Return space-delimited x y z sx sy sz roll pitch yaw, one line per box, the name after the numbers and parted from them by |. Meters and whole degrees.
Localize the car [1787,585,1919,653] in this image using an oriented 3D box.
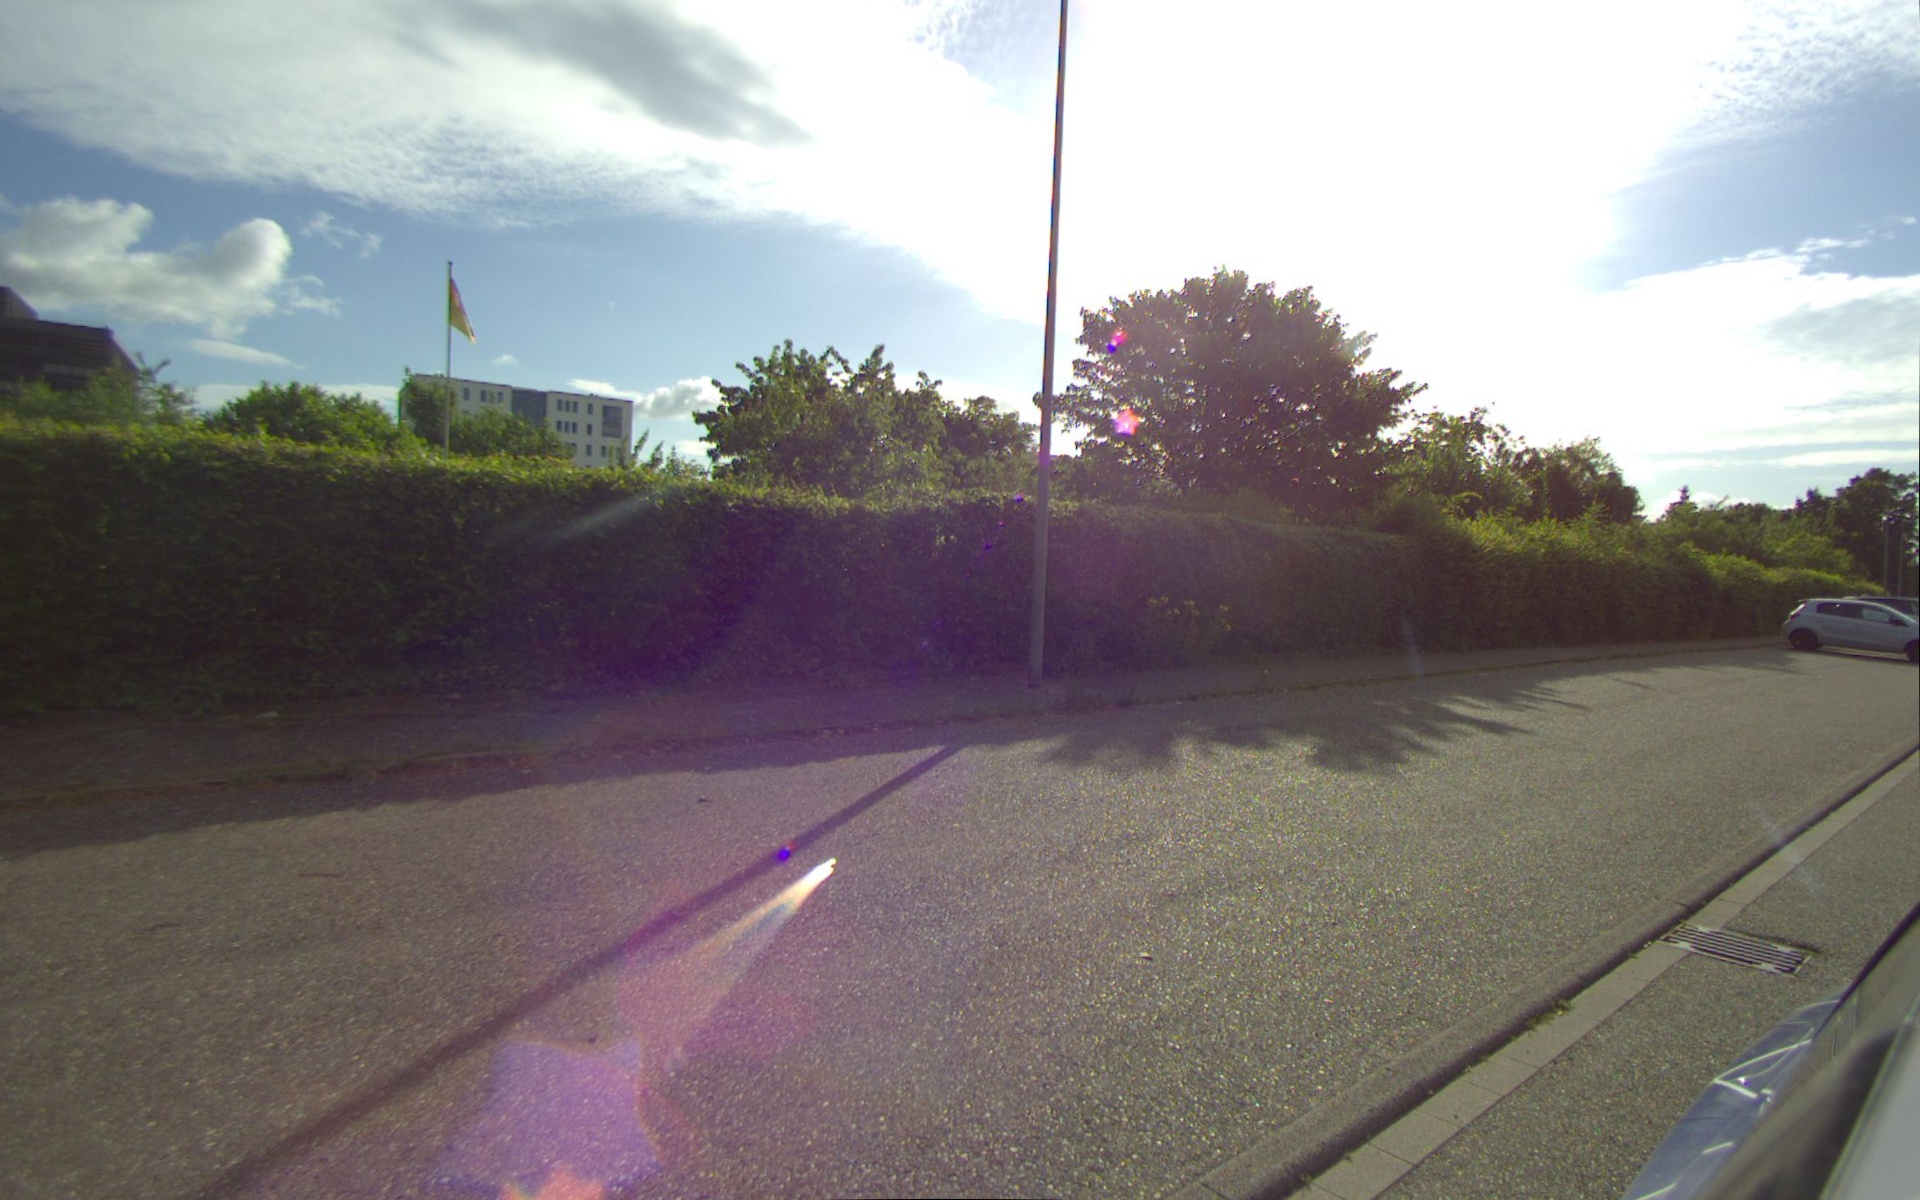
25.238 0.576 27.550 1.662 1.507 3.868 3 5 -41 | car

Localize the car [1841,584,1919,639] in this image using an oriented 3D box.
33.239 0.500 34.432 1.731 1.720 4.601 1 4 -39 | car
